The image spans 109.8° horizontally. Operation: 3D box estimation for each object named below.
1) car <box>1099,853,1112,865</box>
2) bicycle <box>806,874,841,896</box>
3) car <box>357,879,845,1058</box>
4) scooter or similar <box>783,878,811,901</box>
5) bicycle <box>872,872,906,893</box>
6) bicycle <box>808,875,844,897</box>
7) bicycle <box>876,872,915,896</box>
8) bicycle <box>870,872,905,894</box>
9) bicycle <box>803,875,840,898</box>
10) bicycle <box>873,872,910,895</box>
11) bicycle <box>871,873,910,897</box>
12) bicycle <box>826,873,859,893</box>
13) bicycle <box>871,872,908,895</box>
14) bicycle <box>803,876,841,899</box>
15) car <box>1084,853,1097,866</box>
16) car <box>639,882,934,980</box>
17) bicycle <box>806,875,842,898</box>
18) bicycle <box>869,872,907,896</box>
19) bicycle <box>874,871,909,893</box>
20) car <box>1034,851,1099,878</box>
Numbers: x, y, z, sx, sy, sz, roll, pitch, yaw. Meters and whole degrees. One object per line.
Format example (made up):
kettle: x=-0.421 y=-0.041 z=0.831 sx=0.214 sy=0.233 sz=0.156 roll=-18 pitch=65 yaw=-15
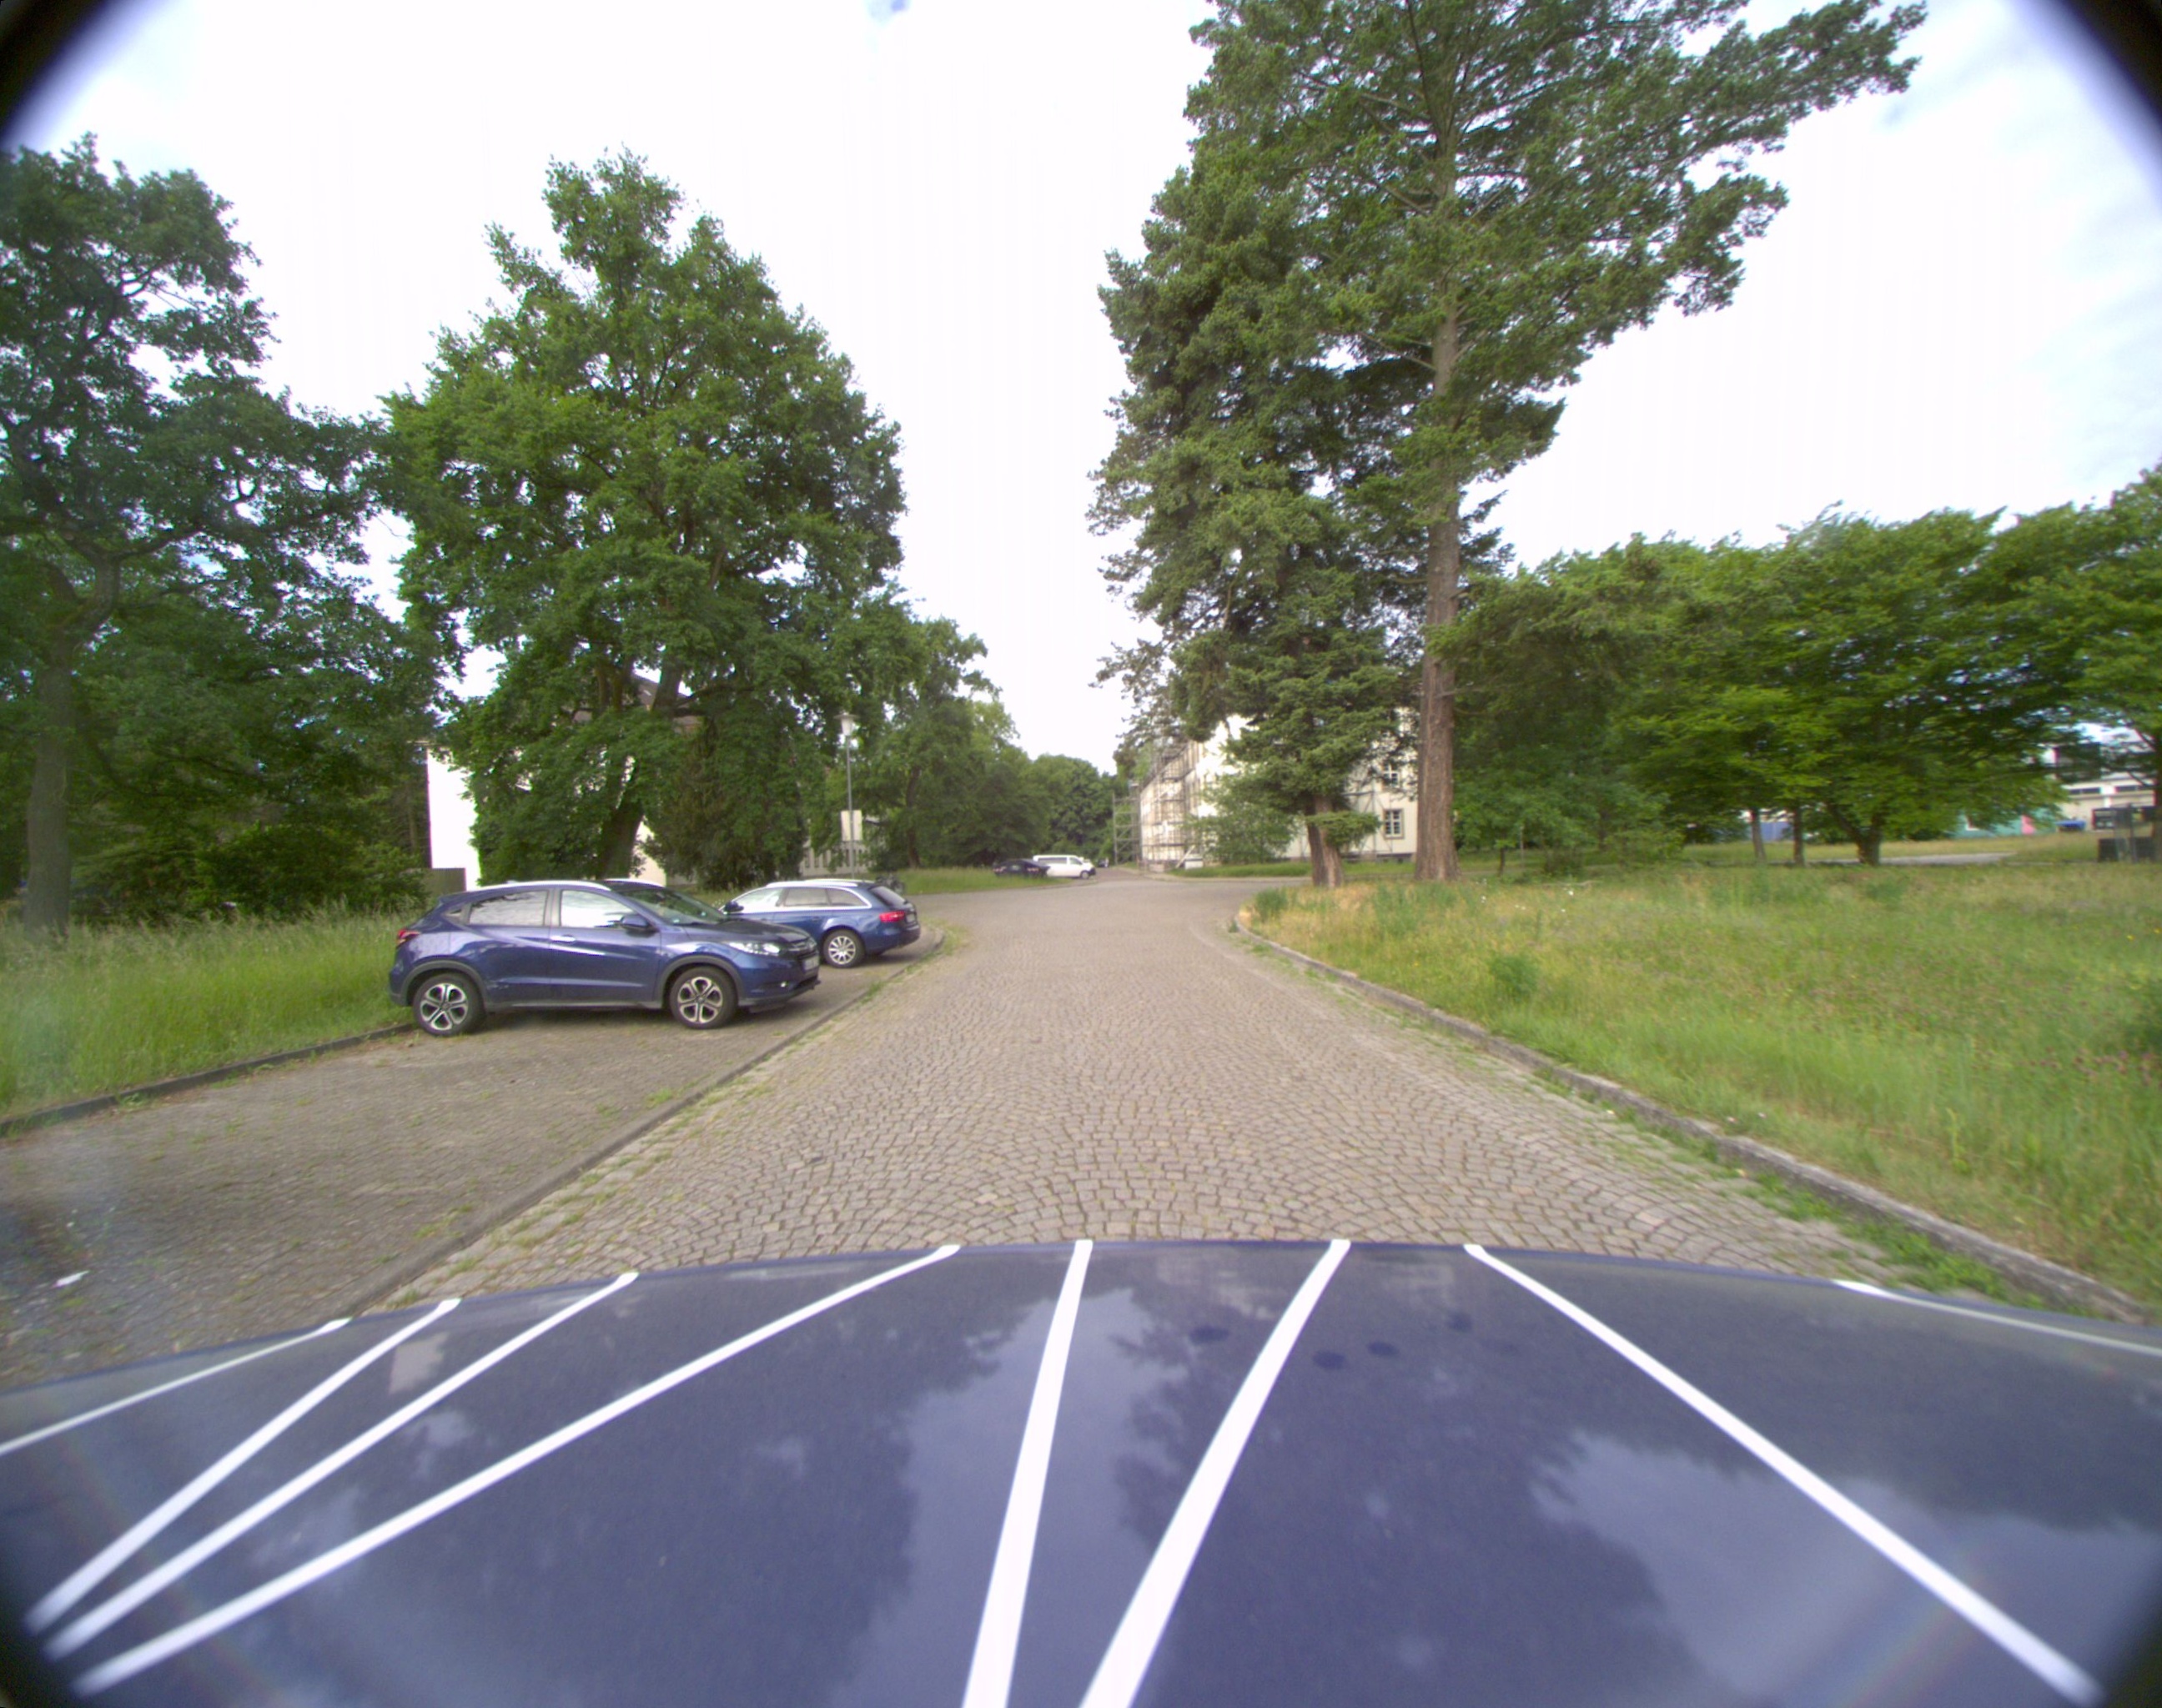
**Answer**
car: x=4.124 y=0.792 z=128.587 sx=1.962 sy=2.002 sz=4.260 roll=-2 pitch=0 yaw=-1
bicycle: x=-15.389 y=1.834 z=45.487 sx=1.862 sy=1.163 sz=0.487 roll=-3 pitch=0 yaw=-29
car: x=-5.110 y=1.180 z=8.603 sx=4.256 sy=1.613 sz=1.886 roll=-2 pitch=0 yaw=-2
scooter or similar: x=-15.410 y=1.913 z=41.269 sx=1.308 sy=1.163 sz=0.413 roll=-4 pitch=1 yaw=-1
bicycle: x=-11.961 y=1.759 z=47.399 sx=1.940 sy=1.163 sz=0.537 roll=-4 pitch=1 yaw=-16
bicycle: x=-14.798 y=1.838 z=44.097 sx=1.862 sy=1.163 sz=0.487 roll=-3 pitch=0 yaw=-29
bicycle: x=-10.350 y=1.666 z=42.386 sx=1.942 sy=1.163 sz=0.487 roll=-4 pitch=1 yaw=-28
bicycle: x=-11.588 y=1.740 z=45.549 sx=1.941 sy=1.163 sz=0.487 roll=-4 pitch=1 yaw=-22
bicycle: x=-14.525 y=1.824 z=42.619 sx=1.862 sy=1.163 sz=0.487 roll=-3 pitch=0 yaw=-26
bicycle: x=-11.140 y=1.712 z=44.696 sx=1.941 sy=1.163 sz=0.487 roll=-4 pitch=1 yaw=-22
bicycle: x=-10.461 y=1.677 z=41.708 sx=1.942 sy=1.163 sz=0.487 roll=-4 pitch=1 yaw=-28
bicycle: x=-14.611 y=1.779 z=46.619 sx=1.860 sy=1.163 sz=0.488 roll=-1 pitch=0 yaw=-10
bicycle: x=-11.042 y=1.708 z=43.916 sx=1.942 sy=1.163 sz=0.487 roll=-4 pitch=1 yaw=-25
bicycle: x=-14.322 y=1.837 z=42.052 sx=1.862 sy=1.163 sz=0.487 roll=-3 pitch=0 yaw=-26
car: x=1.589 y=0.902 z=128.338 sx=1.962 sy=2.002 sz=4.260 roll=-2 pitch=0 yaw=-1
car: x=-4.998 y=1.291 z=13.345 sx=4.367 sy=1.430 sz=1.927 roll=-2 pitch=0 yaw=2
bicycle: x=-14.653 y=1.830 z=43.331 sx=1.861 sy=1.163 sz=0.487 roll=-3 pitch=0 yaw=-21
bicycle: x=-10.980 y=1.706 z=43.303 sx=1.942 sy=1.163 sz=0.487 roll=-4 pitch=1 yaw=-25
bicycle: x=-11.524 y=1.673 z=46.162 sx=1.941 sy=1.163 sz=0.487 roll=-4 pitch=1 yaw=-22
car: x=-1.171 y=0.855 z=62.155 sx=5.149 sy=2.002 sz=2.000 roll=-2 pitch=0 yaw=0
